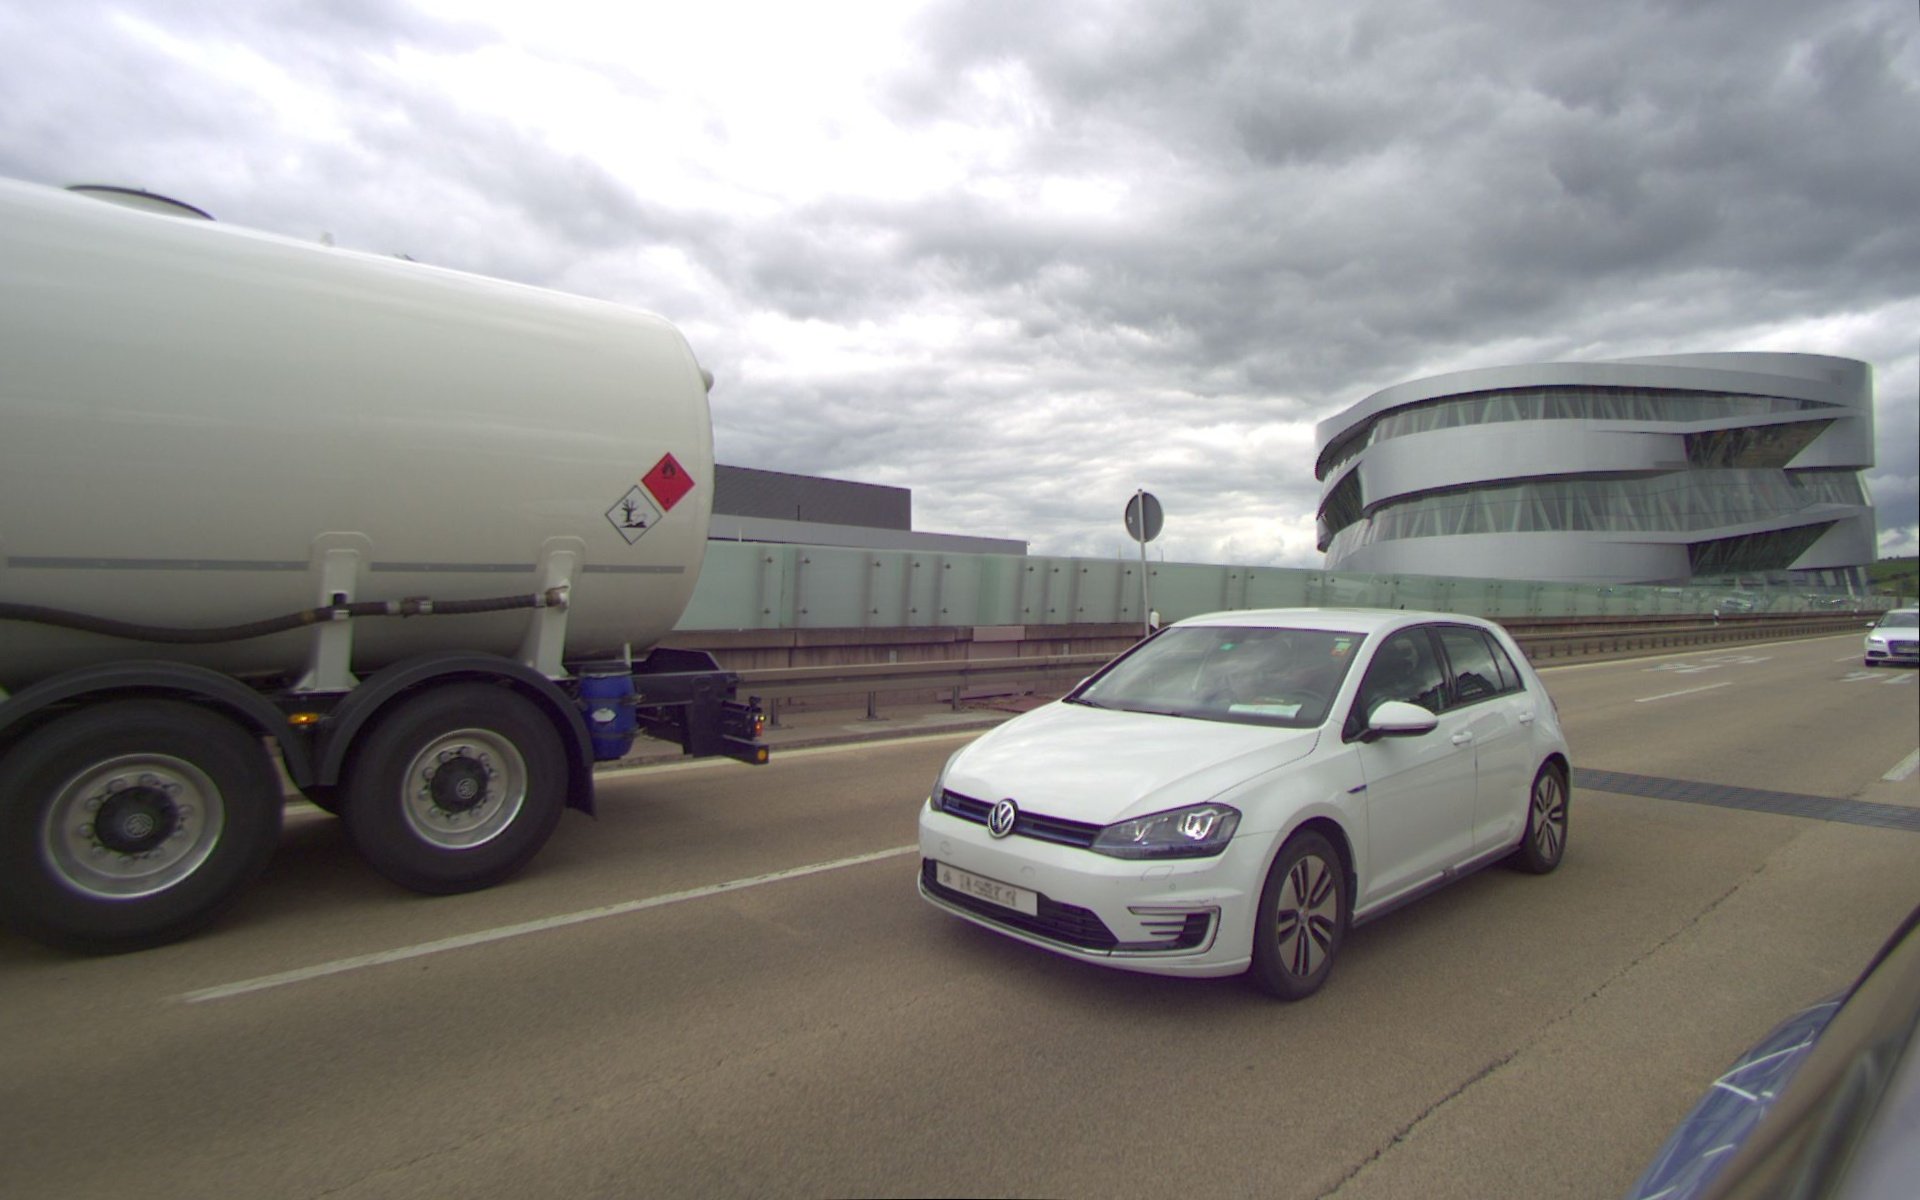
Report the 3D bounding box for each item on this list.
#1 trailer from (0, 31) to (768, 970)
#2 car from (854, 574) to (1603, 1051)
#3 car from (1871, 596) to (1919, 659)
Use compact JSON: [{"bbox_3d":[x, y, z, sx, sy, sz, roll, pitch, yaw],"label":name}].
[{"bbox_3d":[-6.166,-0.385,3.459,11.023,3.588,2.655,0,0,-41],"label":"trailer"},{"bbox_3d":[1.609,0.656,5.124,4.001,1.470,1.757,1,0,-42],"label":"car"},{"bbox_3d":[24.237,0.665,25.097,3.861,1.470,1.848,1,-1,-39],"label":"car"}]
